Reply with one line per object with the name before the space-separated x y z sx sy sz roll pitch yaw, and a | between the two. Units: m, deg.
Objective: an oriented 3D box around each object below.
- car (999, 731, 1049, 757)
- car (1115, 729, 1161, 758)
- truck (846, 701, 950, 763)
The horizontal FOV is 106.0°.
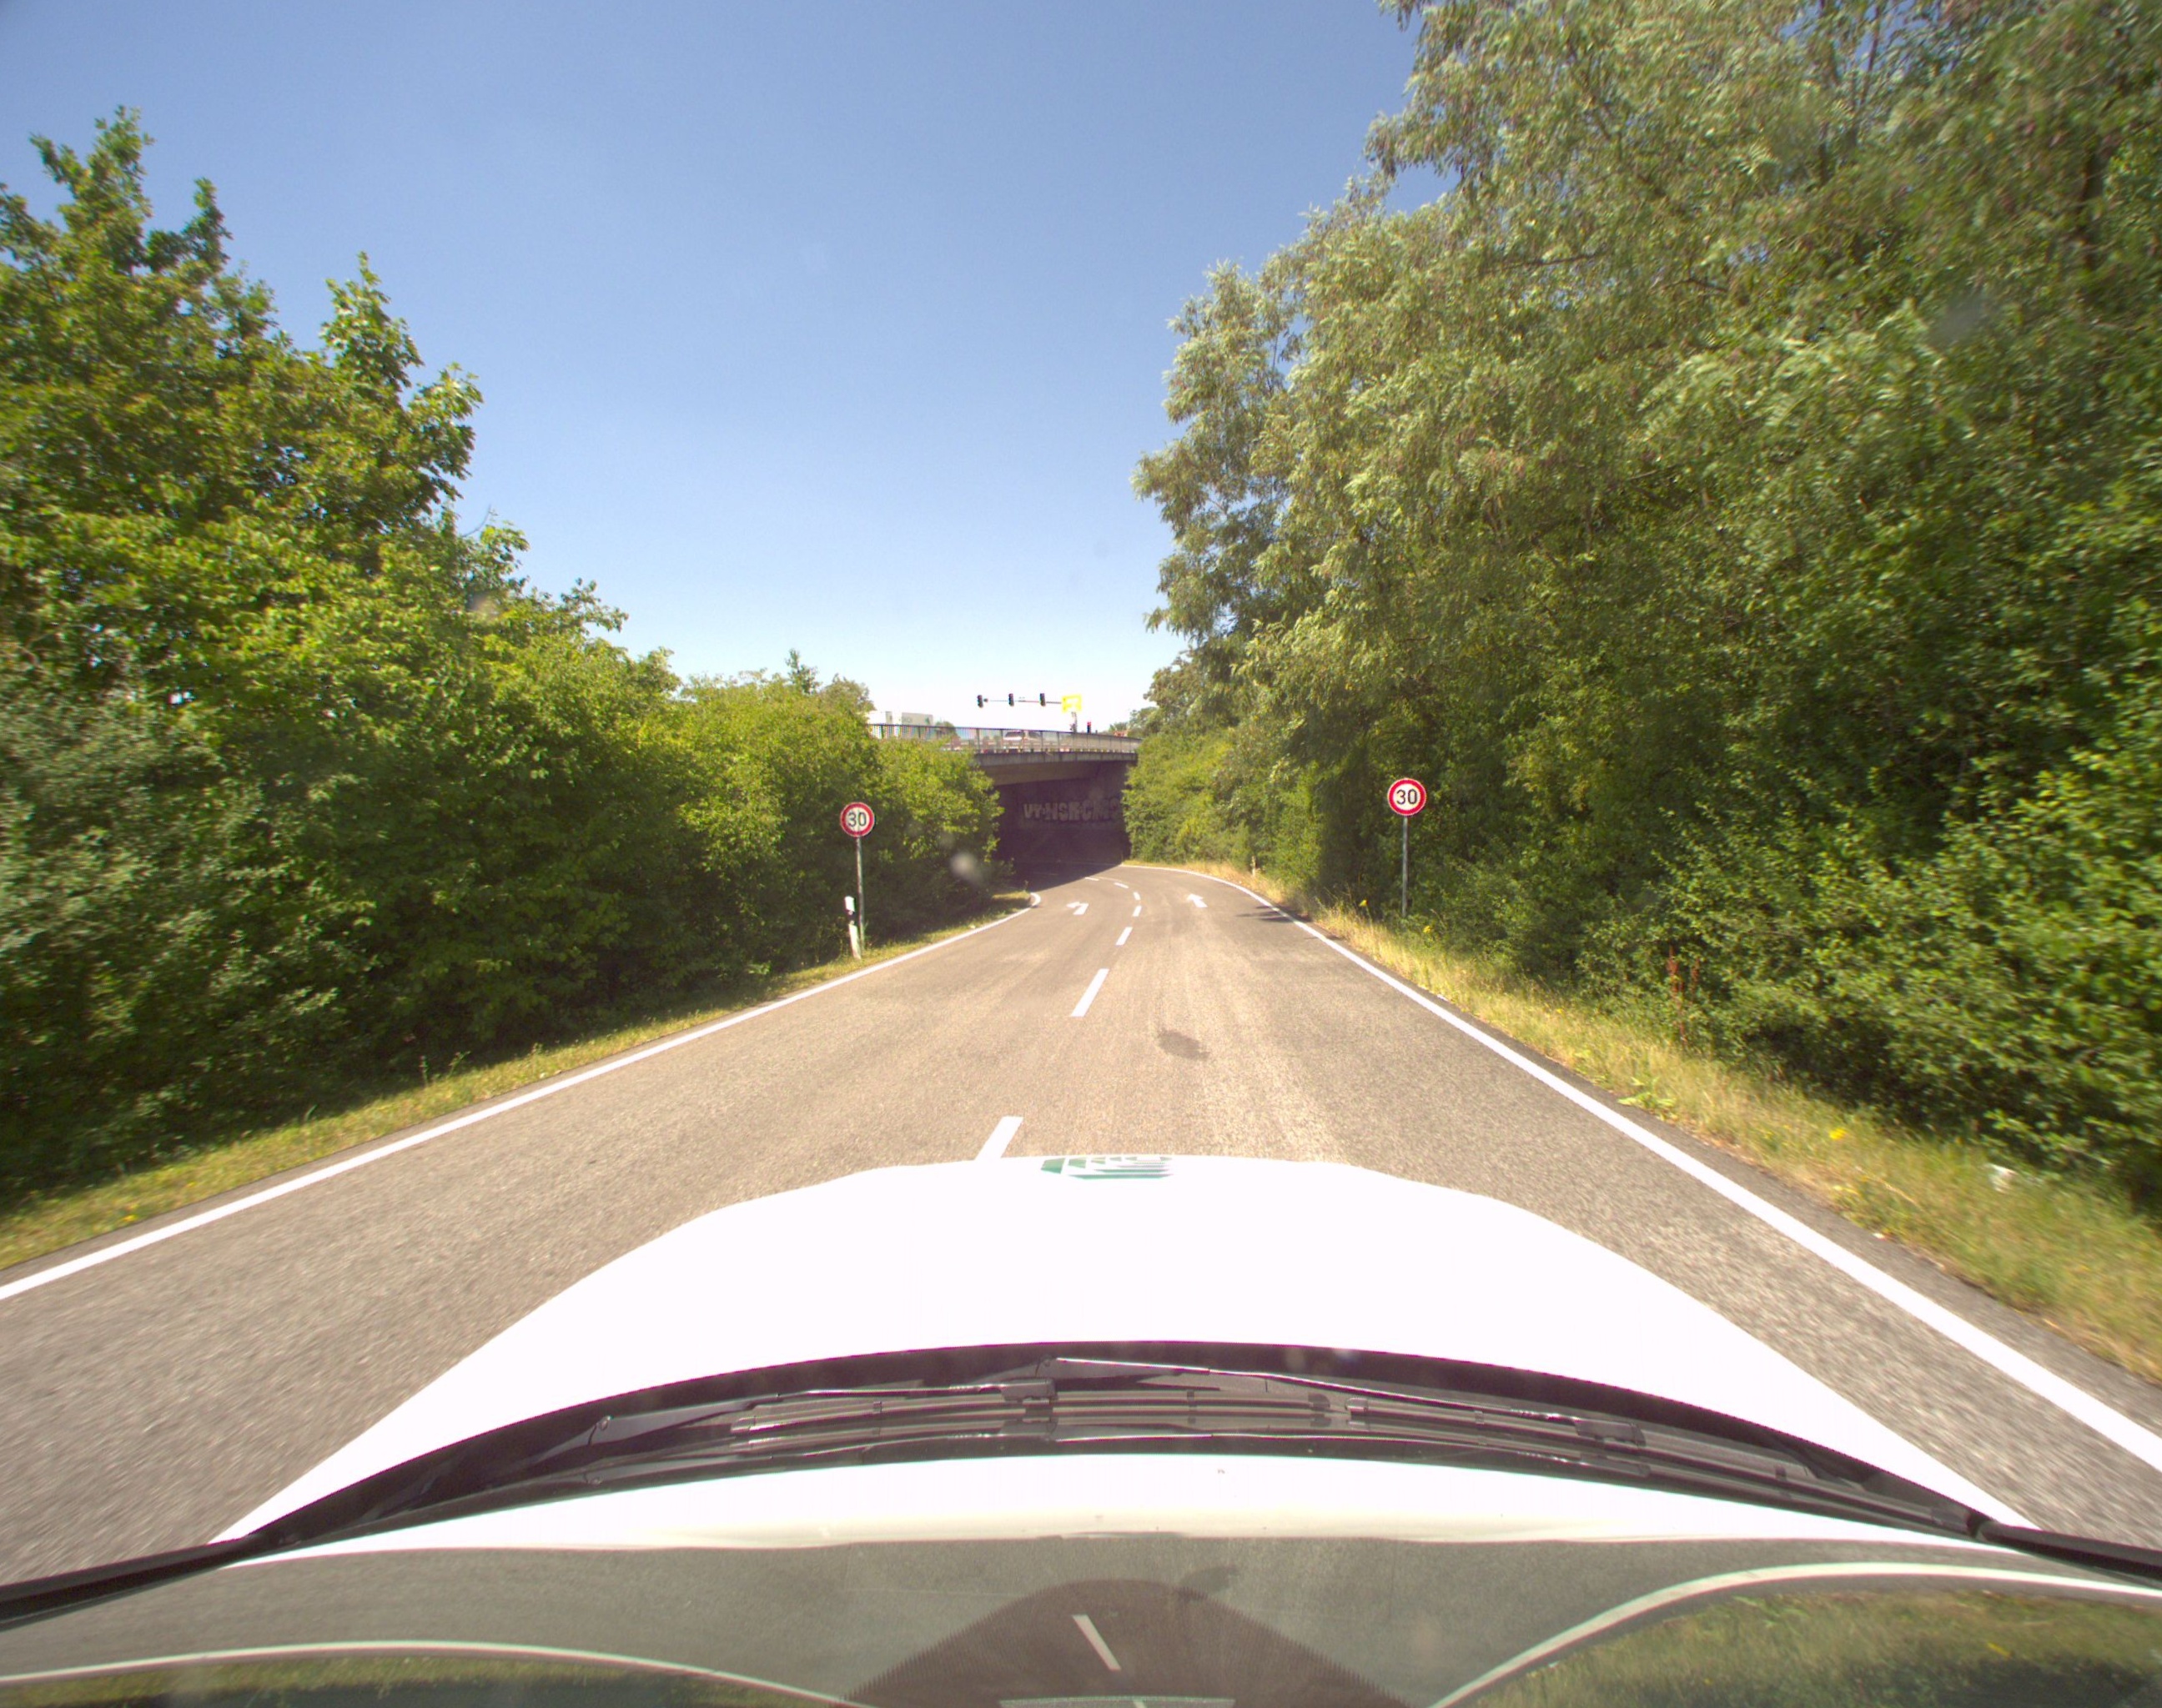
car | -3.257 -6.307 46.828 1.598 1.189 3.497 -2 4 18
car | 4.597 -8.820 65.441 1.974 2.013 4.027 -1 4 30
truck | -12.890 -8.577 58.419 3.003 3.588 8.947 -2 4 18
